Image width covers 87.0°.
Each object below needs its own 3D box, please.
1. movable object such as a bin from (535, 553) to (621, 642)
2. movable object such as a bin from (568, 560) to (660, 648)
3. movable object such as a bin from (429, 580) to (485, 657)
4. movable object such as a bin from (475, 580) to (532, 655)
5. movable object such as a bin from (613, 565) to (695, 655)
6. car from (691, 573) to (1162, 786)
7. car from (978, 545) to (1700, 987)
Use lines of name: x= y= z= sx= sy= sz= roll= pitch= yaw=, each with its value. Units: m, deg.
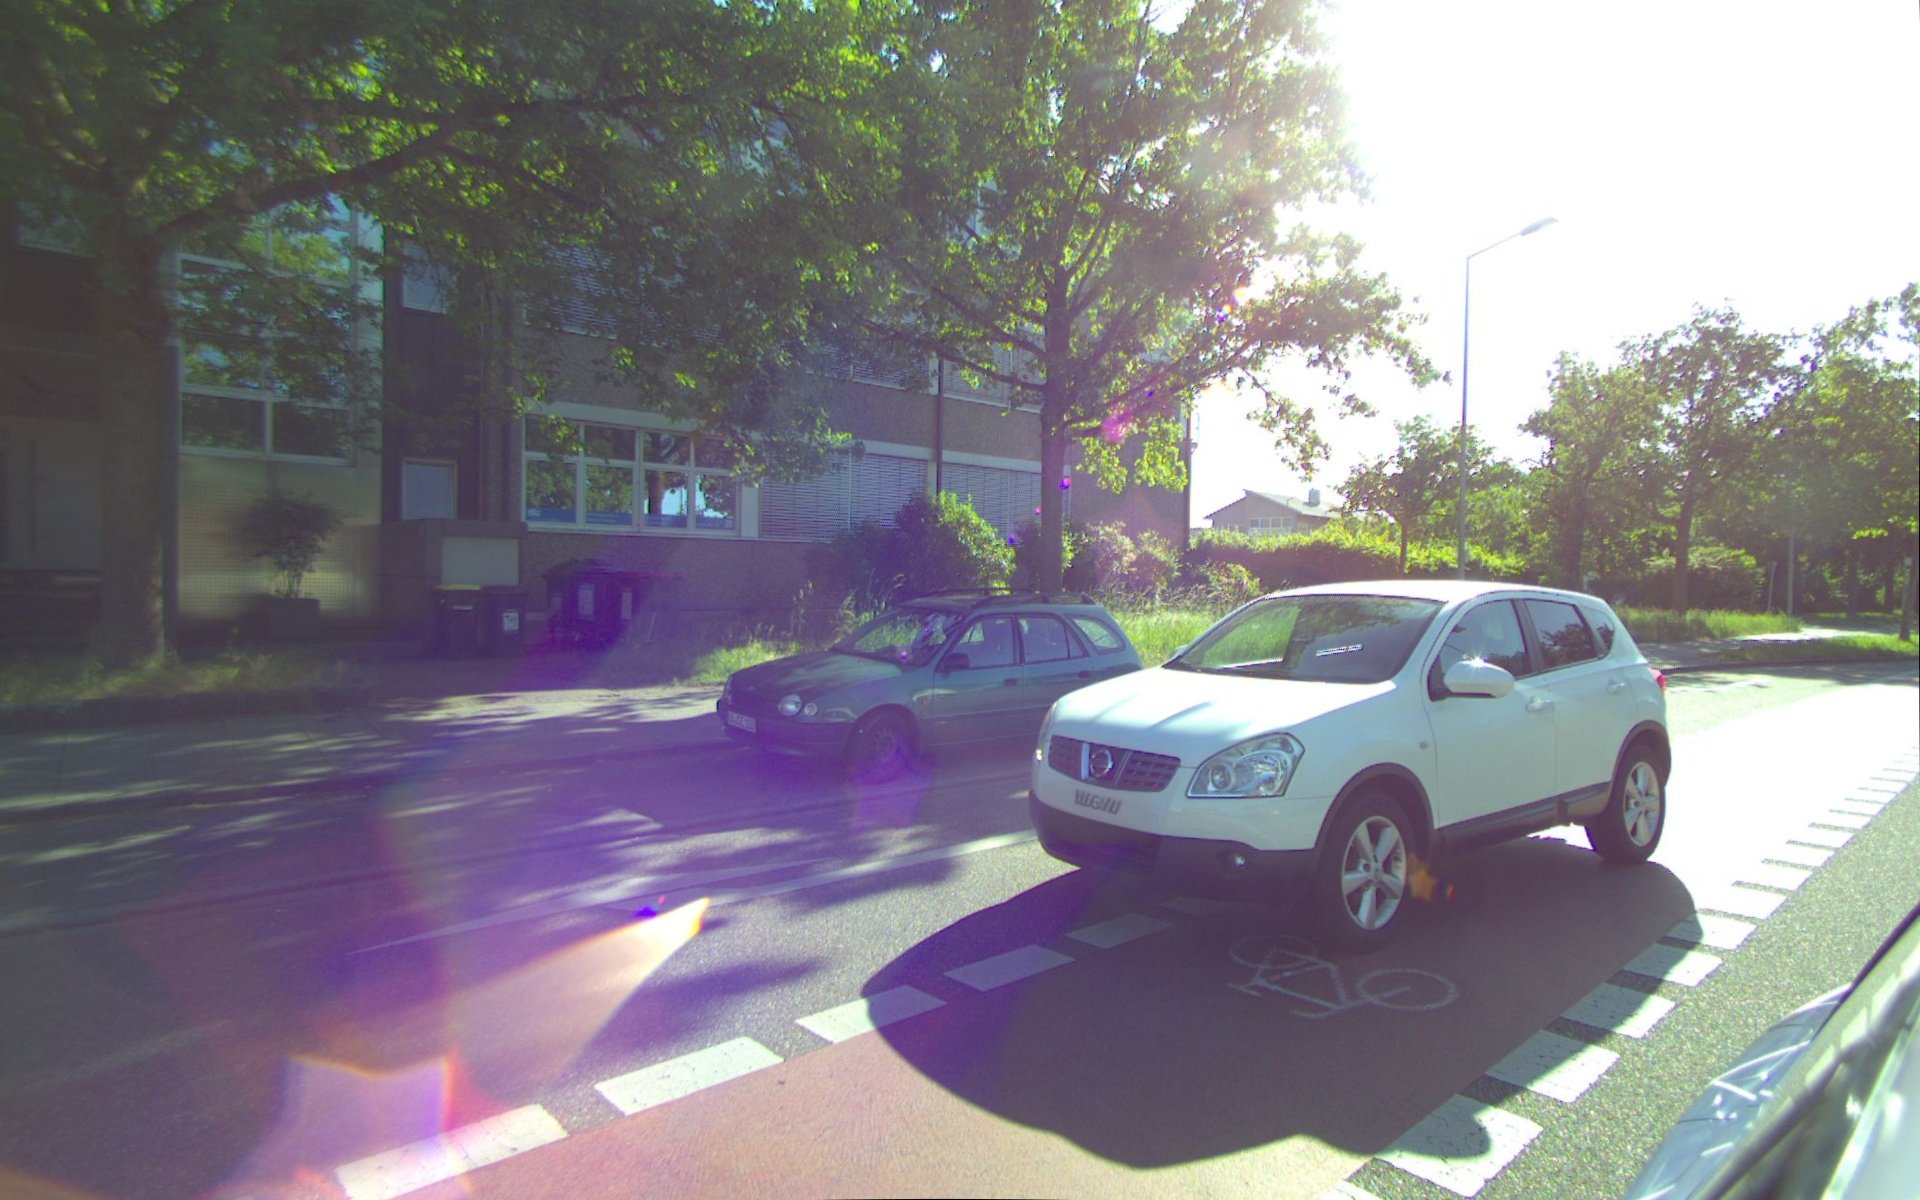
movable object such as a bin: x=-6.778 y=-0.071 z=17.939 sx=1.024 sy=1.501 sz=1.309 roll=0 pitch=2 yaw=-41
movable object such as a bin: x=-5.769 y=0.046 z=16.859 sx=1.070 sy=1.388 sz=1.186 roll=0 pitch=2 yaw=-43
movable object such as a bin: x=-7.212 y=0.248 z=14.495 sx=0.575 sy=1.070 sz=0.625 roll=0 pitch=1 yaw=-42
movable object such as a bin: x=-6.756 y=0.243 z=14.976 sx=0.604 sy=1.075 sz=0.634 roll=0 pitch=1 yaw=-42
movable object such as a bin: x=-4.779 y=0.128 z=15.772 sx=0.878 sy=1.323 sz=1.186 roll=0 pitch=2 yaw=-37
car: x=-0.143 y=0.577 z=9.130 sx=4.068 sy=1.487 sz=1.705 roll=1 pitch=1 yaw=-41
car: x=2.220 y=0.619 z=5.567 sx=3.989 sy=1.628 sz=1.723 roll=0 pitch=-1 yaw=-34
